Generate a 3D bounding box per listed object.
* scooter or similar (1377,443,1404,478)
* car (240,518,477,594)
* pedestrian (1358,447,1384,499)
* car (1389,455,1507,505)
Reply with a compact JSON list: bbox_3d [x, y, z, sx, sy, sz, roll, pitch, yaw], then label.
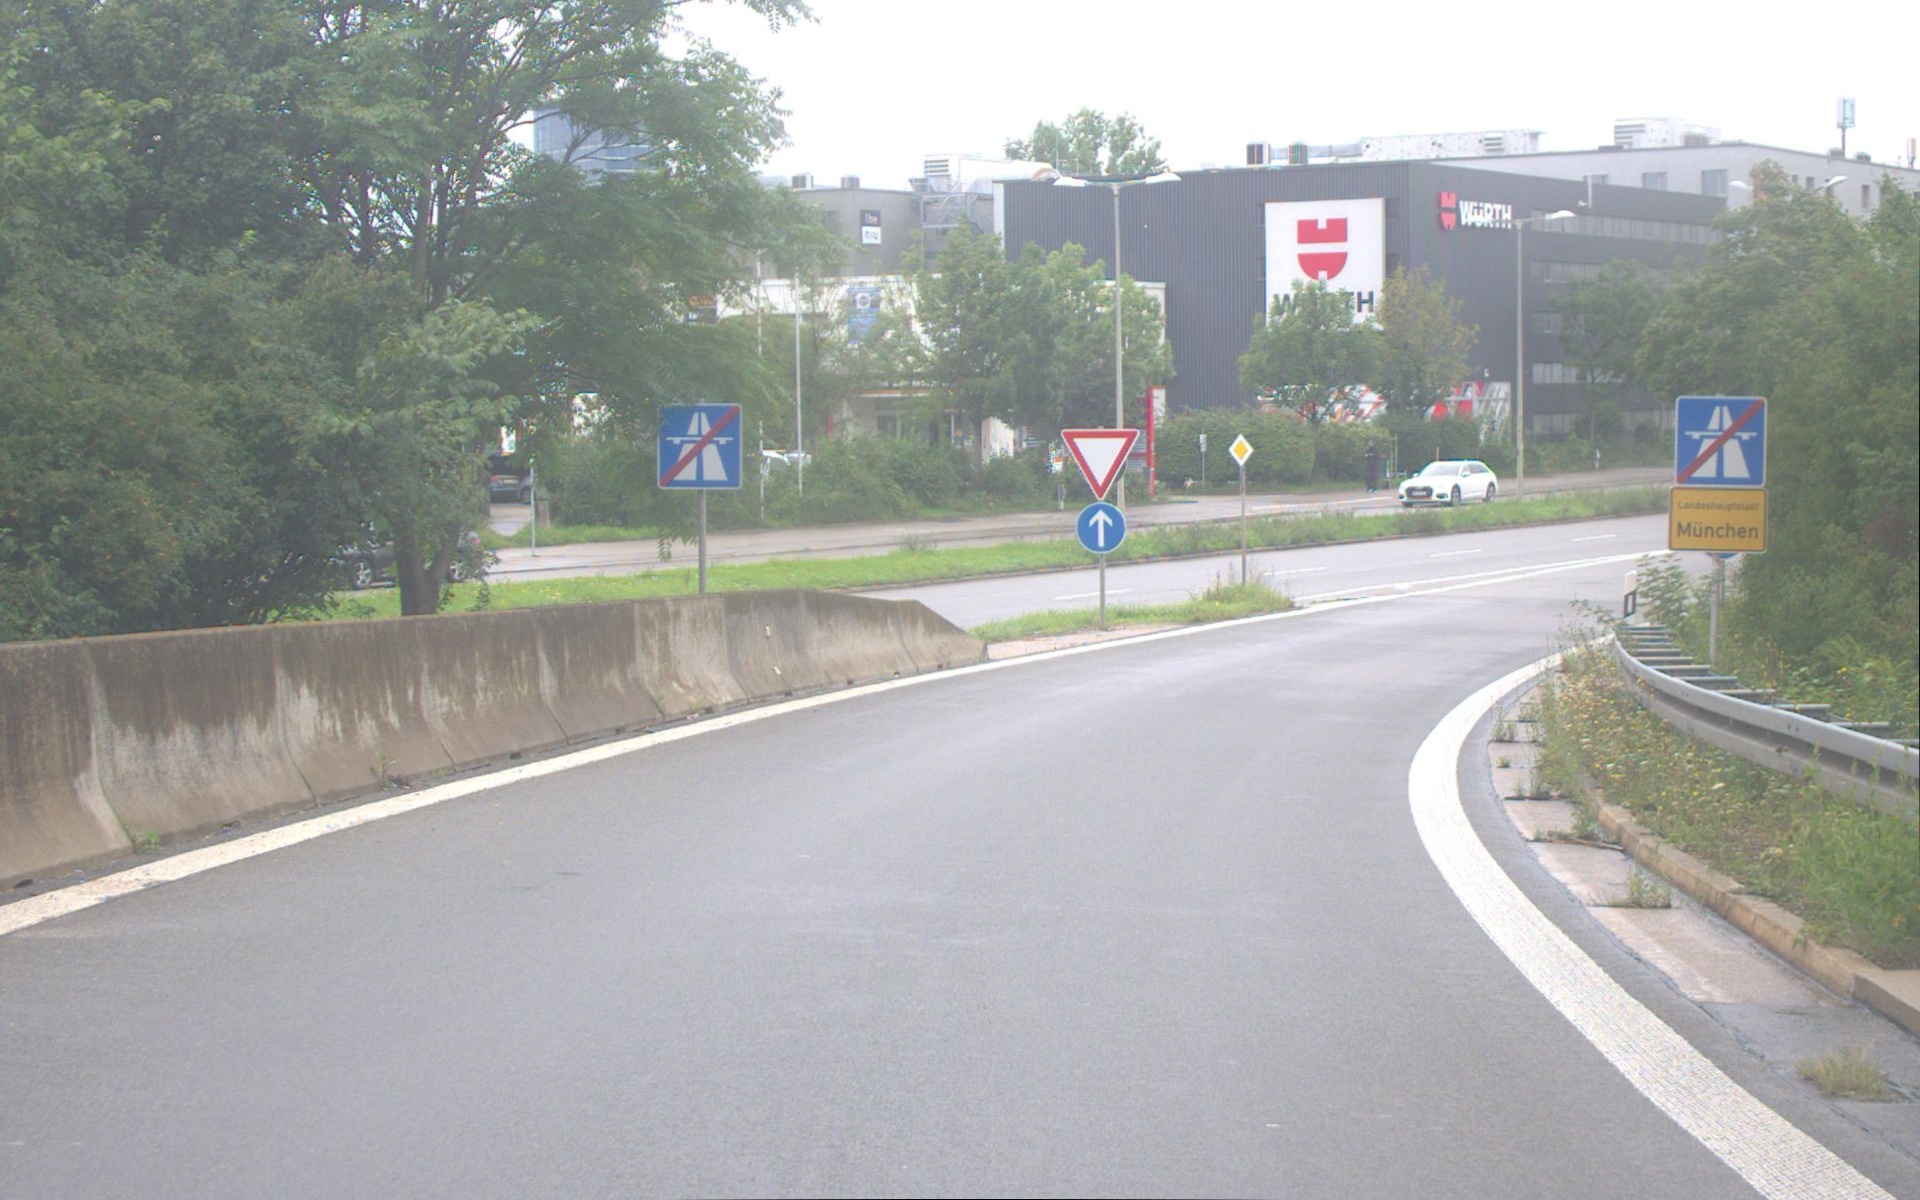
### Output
[{"bbox_3d":[15.735,-5.110,125.637,0.446,1.223,1.385,2,4,30],"label":"scooter or similar"},{"bbox_3d":[-12.218,-0.906,70.126,1.972,1.392,4.808,0,2,33],"label":"car"},{"bbox_3d":[14.679,-4.549,122.838,0.623,1.823,0.816,1,4,32],"label":"pedestrian"},{"bbox_3d":[16.356,-4.032,114.947,1.997,1.566,5.110,1,3,32],"label":"car"}]
